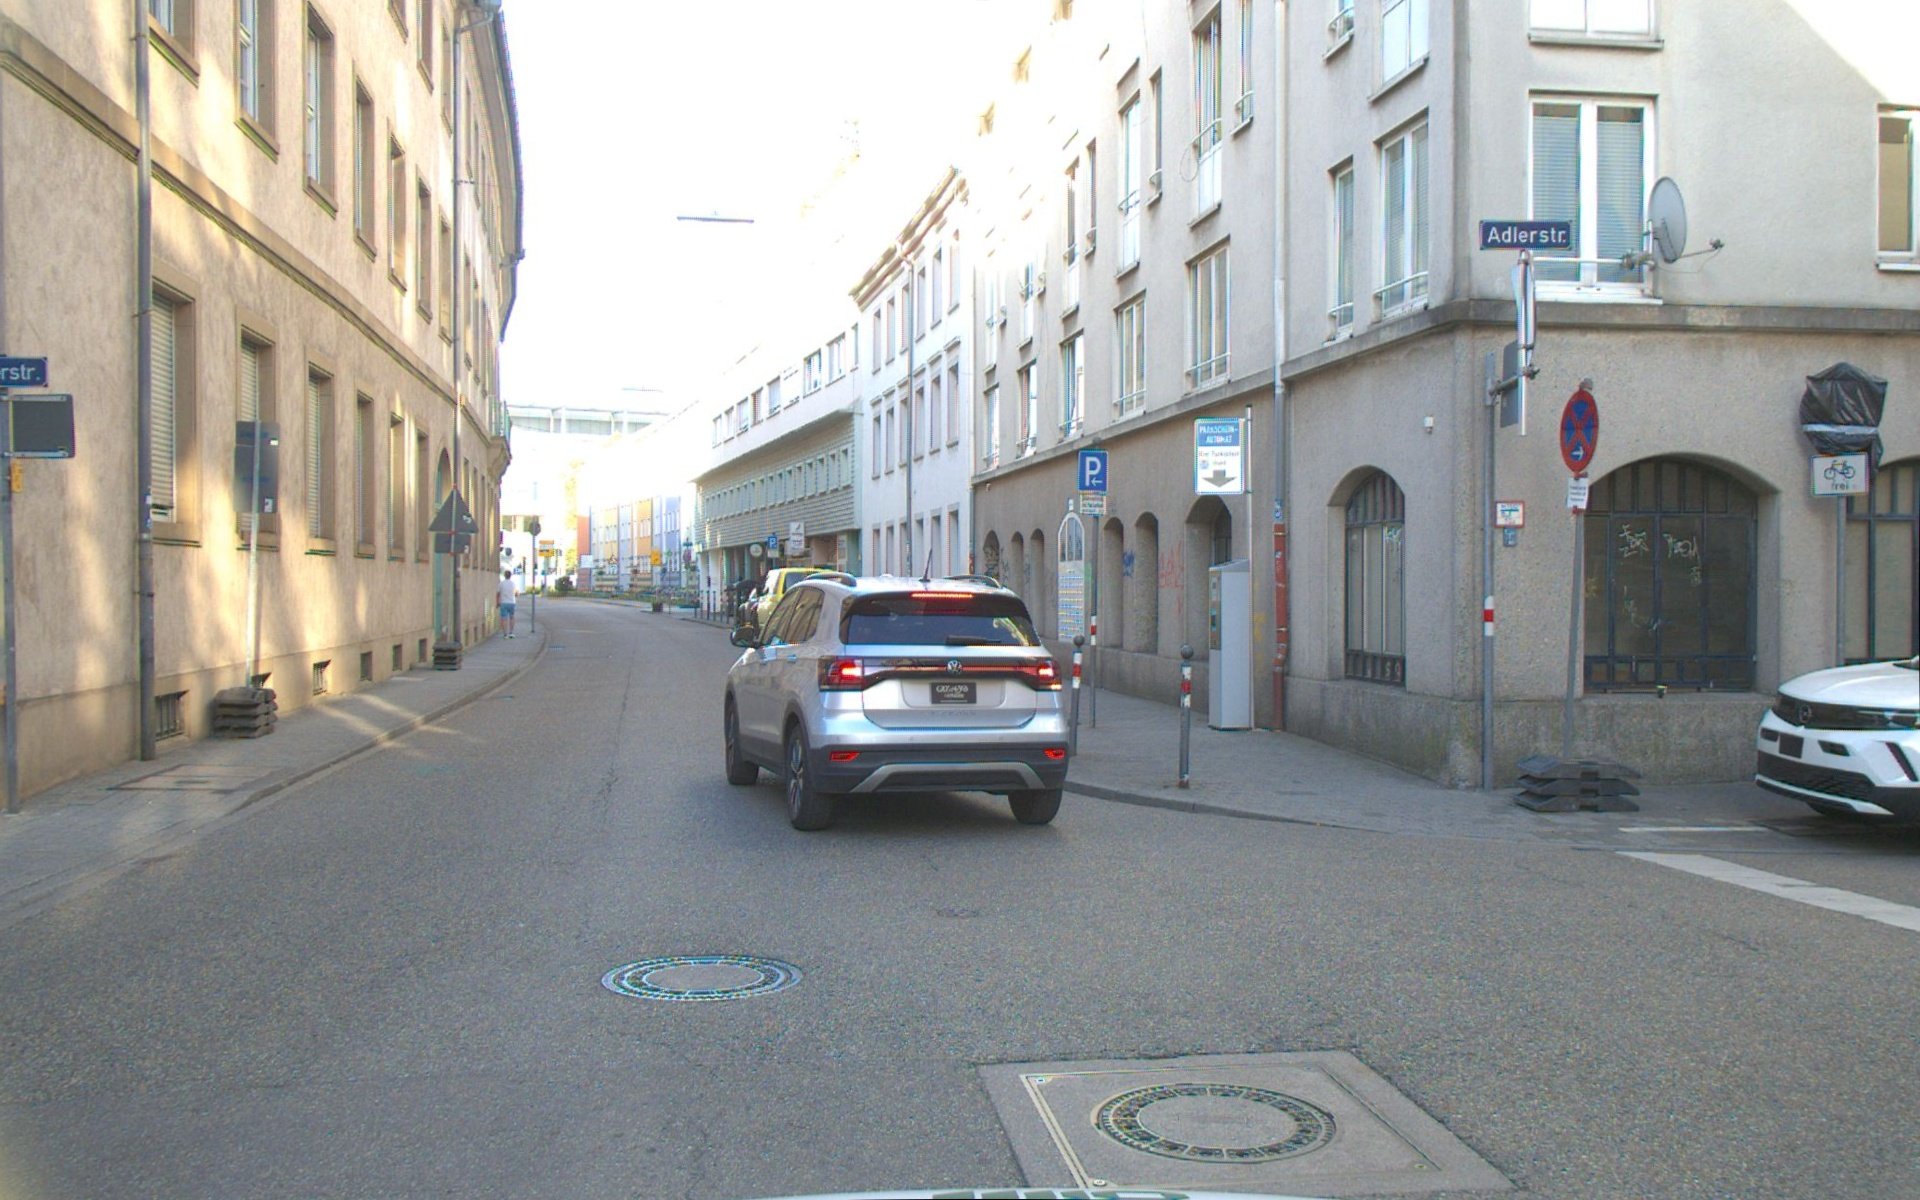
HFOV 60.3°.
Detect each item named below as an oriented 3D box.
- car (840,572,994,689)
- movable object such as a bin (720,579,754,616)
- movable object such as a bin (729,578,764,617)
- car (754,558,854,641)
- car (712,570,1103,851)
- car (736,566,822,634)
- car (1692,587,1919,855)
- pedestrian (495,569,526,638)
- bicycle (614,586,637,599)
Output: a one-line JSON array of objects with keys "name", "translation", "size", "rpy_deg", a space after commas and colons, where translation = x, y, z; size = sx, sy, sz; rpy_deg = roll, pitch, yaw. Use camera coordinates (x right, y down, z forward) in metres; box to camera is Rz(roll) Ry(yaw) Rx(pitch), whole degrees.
[{"name": "car", "translation": [-0.785, 0.441, 26.984], "size": [1.932, 1.721, 4.092], "rpy_deg": [1, 1, -9]}, {"name": "movable object such as a bin", "translation": [-9.325, -0.105, 69.040], "size": [1.114, 1.505, 1.731], "rpy_deg": [0, 0, -18]}, {"name": "movable object such as a bin", "translation": [-8.693, -0.109, 67.363], "size": [1.114, 1.585, 1.731], "rpy_deg": [0, 0, -18]}, {"name": "car", "translation": [-4.146, -0.036, 43.313], "size": [2.018, 2.049, 4.160], "rpy_deg": [0, 1, -14]}, {"name": "car", "translation": [-0.563, 0.605, 11.613], "size": [1.807, 1.589, 3.982], "rpy_deg": [-1, 1, -16]}, {"name": "car", "translation": [-5.415, -0.028, 49.048], "size": [2.018, 1.905, 4.085], "rpy_deg": [0, 1, -14]}, {"name": "car", "translation": [7.314, 0.734, 10.917], "size": [4.132, 1.580, 1.900], "rpy_deg": [1, 0, -4]}, {"name": "pedestrian", "translation": [-11.481, 0.088, 42.273], "size": [0.753, 1.754, 0.684], "rpy_deg": [0, 0, -16]}, {"name": "bicycle", "translation": [-26.522, -0.610, 131.079], "size": [1.751, 1.018, 0.544], "rpy_deg": [0, 0, -16]}]
